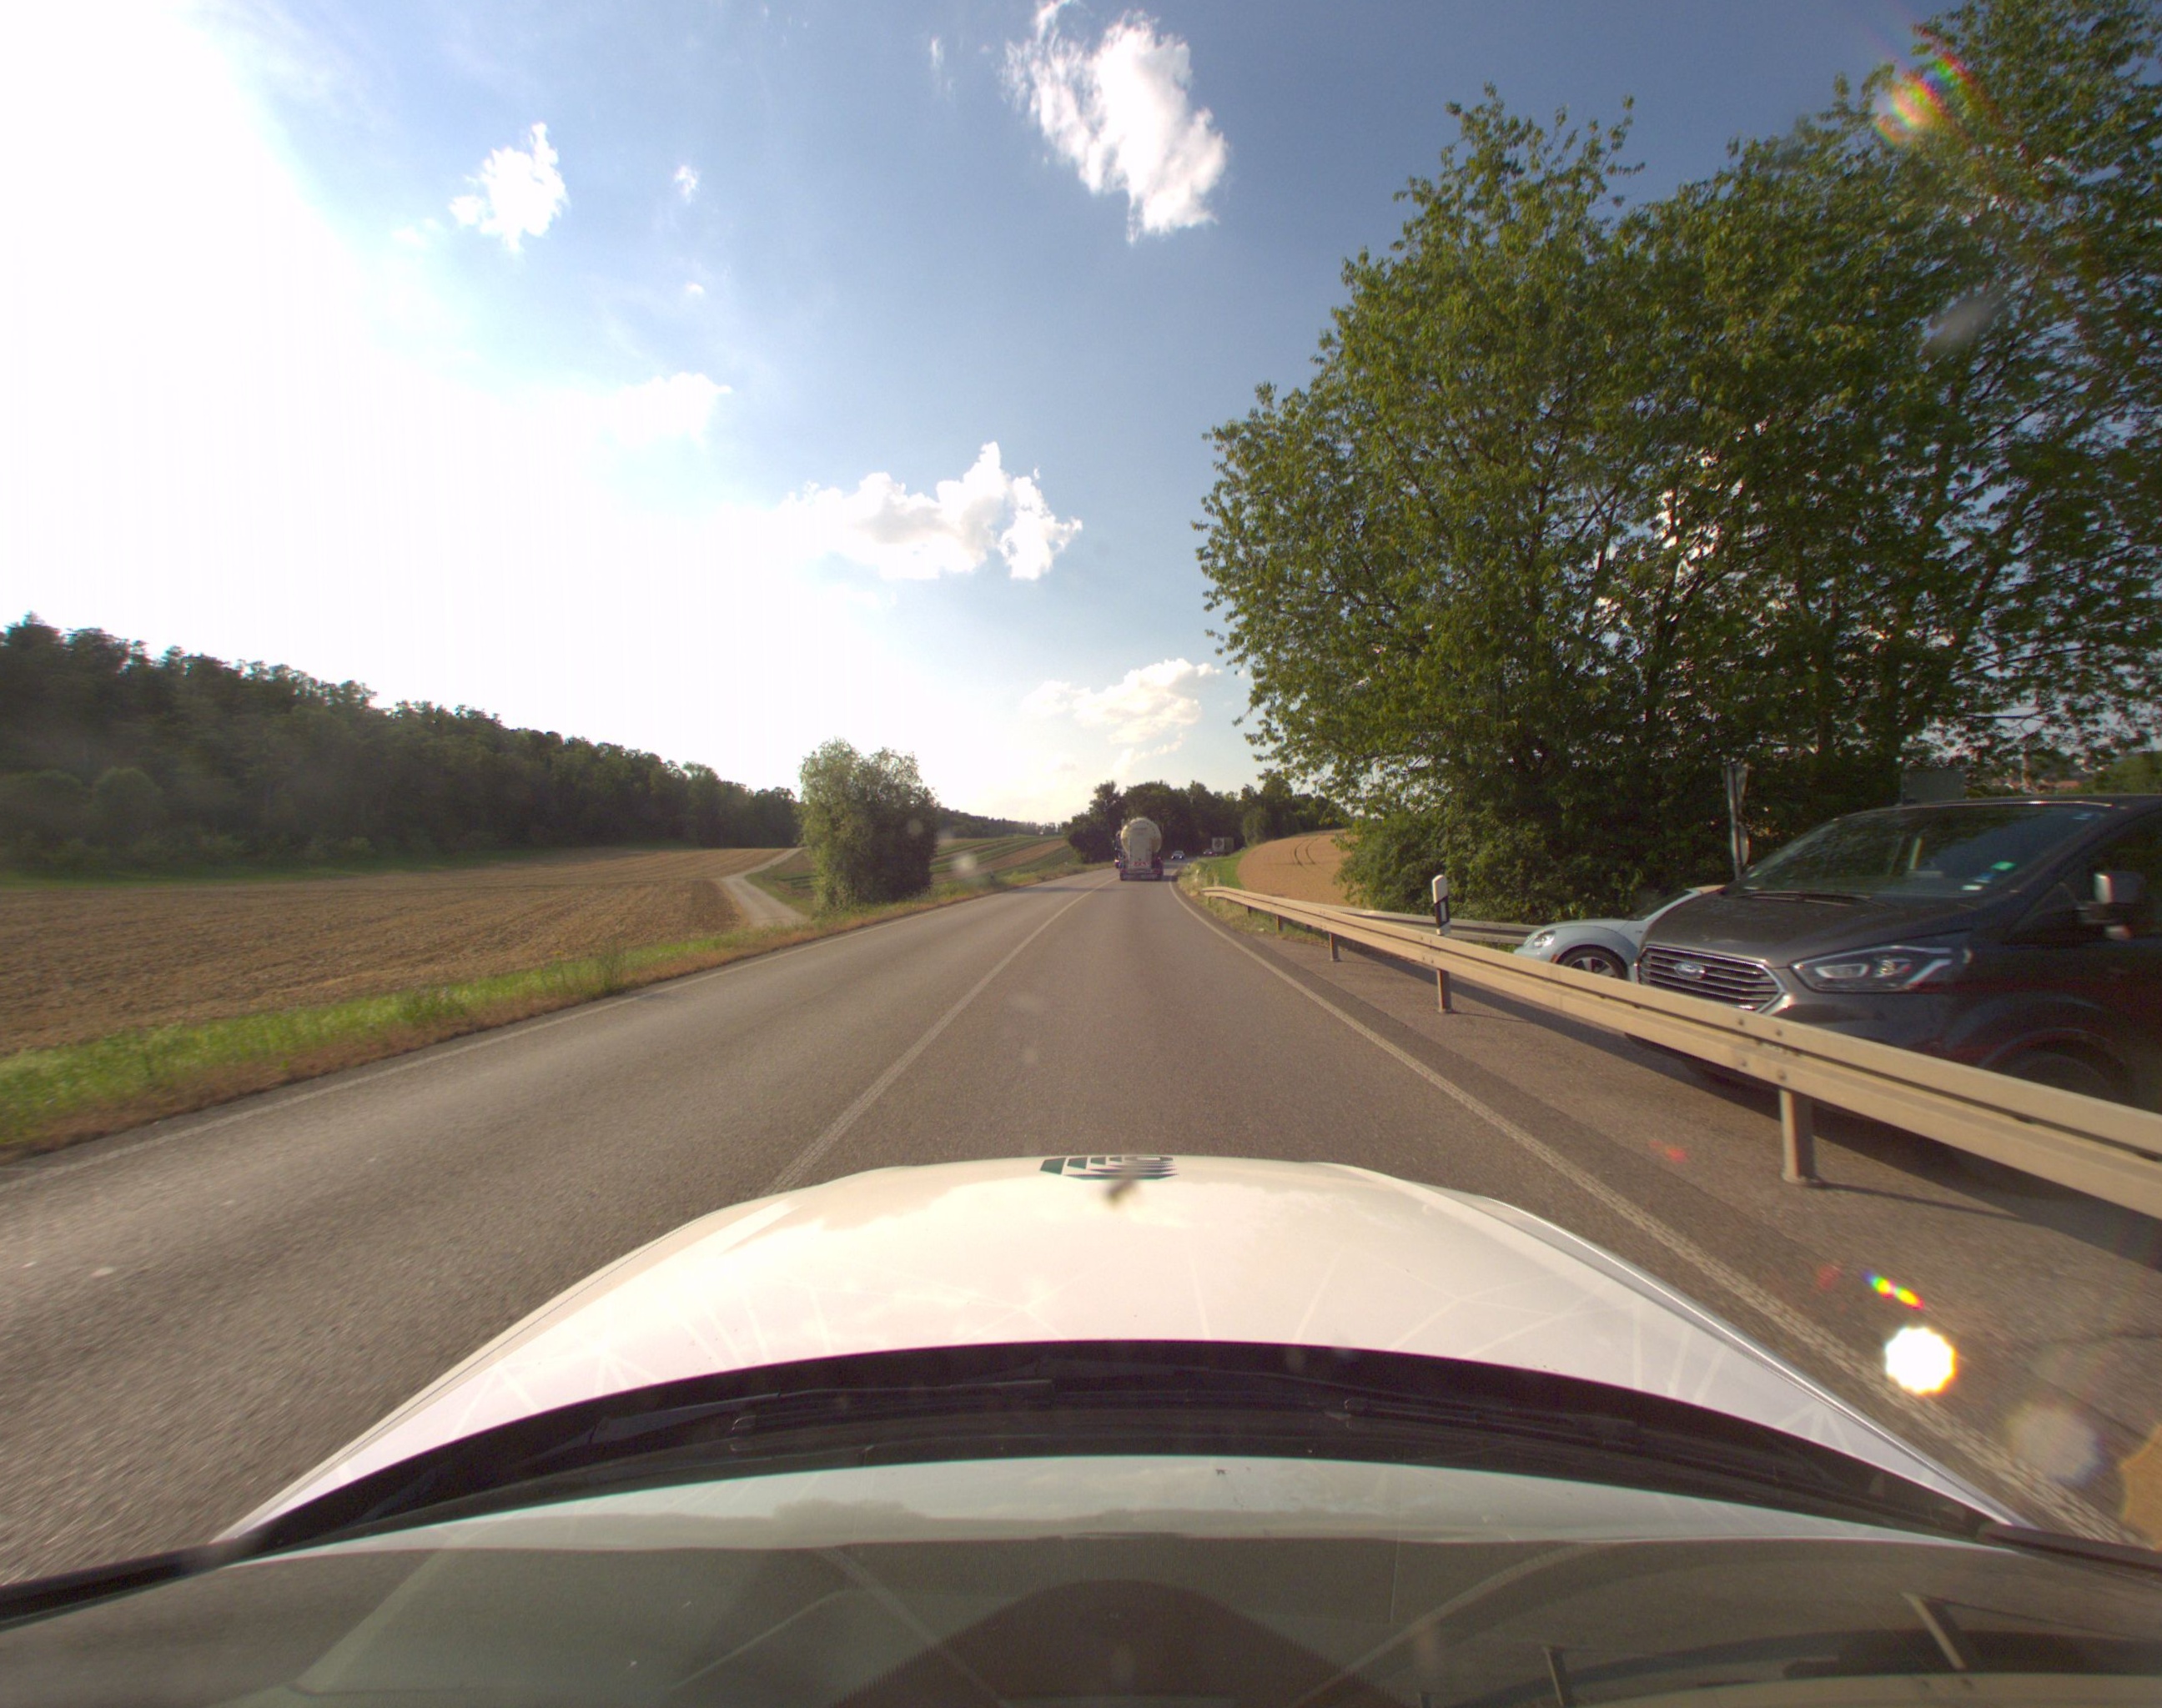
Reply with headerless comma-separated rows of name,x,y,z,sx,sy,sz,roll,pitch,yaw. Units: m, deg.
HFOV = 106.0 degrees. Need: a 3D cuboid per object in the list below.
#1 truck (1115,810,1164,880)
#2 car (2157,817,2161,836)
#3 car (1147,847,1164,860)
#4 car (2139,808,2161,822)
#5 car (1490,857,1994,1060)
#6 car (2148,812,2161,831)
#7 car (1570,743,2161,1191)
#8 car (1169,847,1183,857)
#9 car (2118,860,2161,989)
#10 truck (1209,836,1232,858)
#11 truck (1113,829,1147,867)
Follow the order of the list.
truck,4.034,-0.542,55.246,2.879,4.142,13.189,-1,0,5
car,87.897,-2.222,65.235,4.666,1.507,1.977,-2,1,-38
car,10.683,-0.077,116.802,1.962,1.651,4.376,-2,1,11
car,139.540,-5.077,106.143,4.902,1.786,1.977,-2,1,-38
car,6.927,0.961,9.064,3.960,1.554,1.689,4,0,35
car,106.146,-3.223,79.750,4.666,1.786,1.977,-2,1,-38
car,6.036,0.641,4.766,5.126,1.944,1.974,4,0,-2
car,16.489,-0.299,141.349,1.962,1.651,4.377,-2,1,12
car,17.427,0.973,12.072,4.228,1.747,1.795,-2,1,-28
truck,29.301,-1.522,170.344,3.159,4.227,13.228,-2,1,16
truck,5.448,-0.685,88.899,2.374,3.920,10.191,-2,0,11
